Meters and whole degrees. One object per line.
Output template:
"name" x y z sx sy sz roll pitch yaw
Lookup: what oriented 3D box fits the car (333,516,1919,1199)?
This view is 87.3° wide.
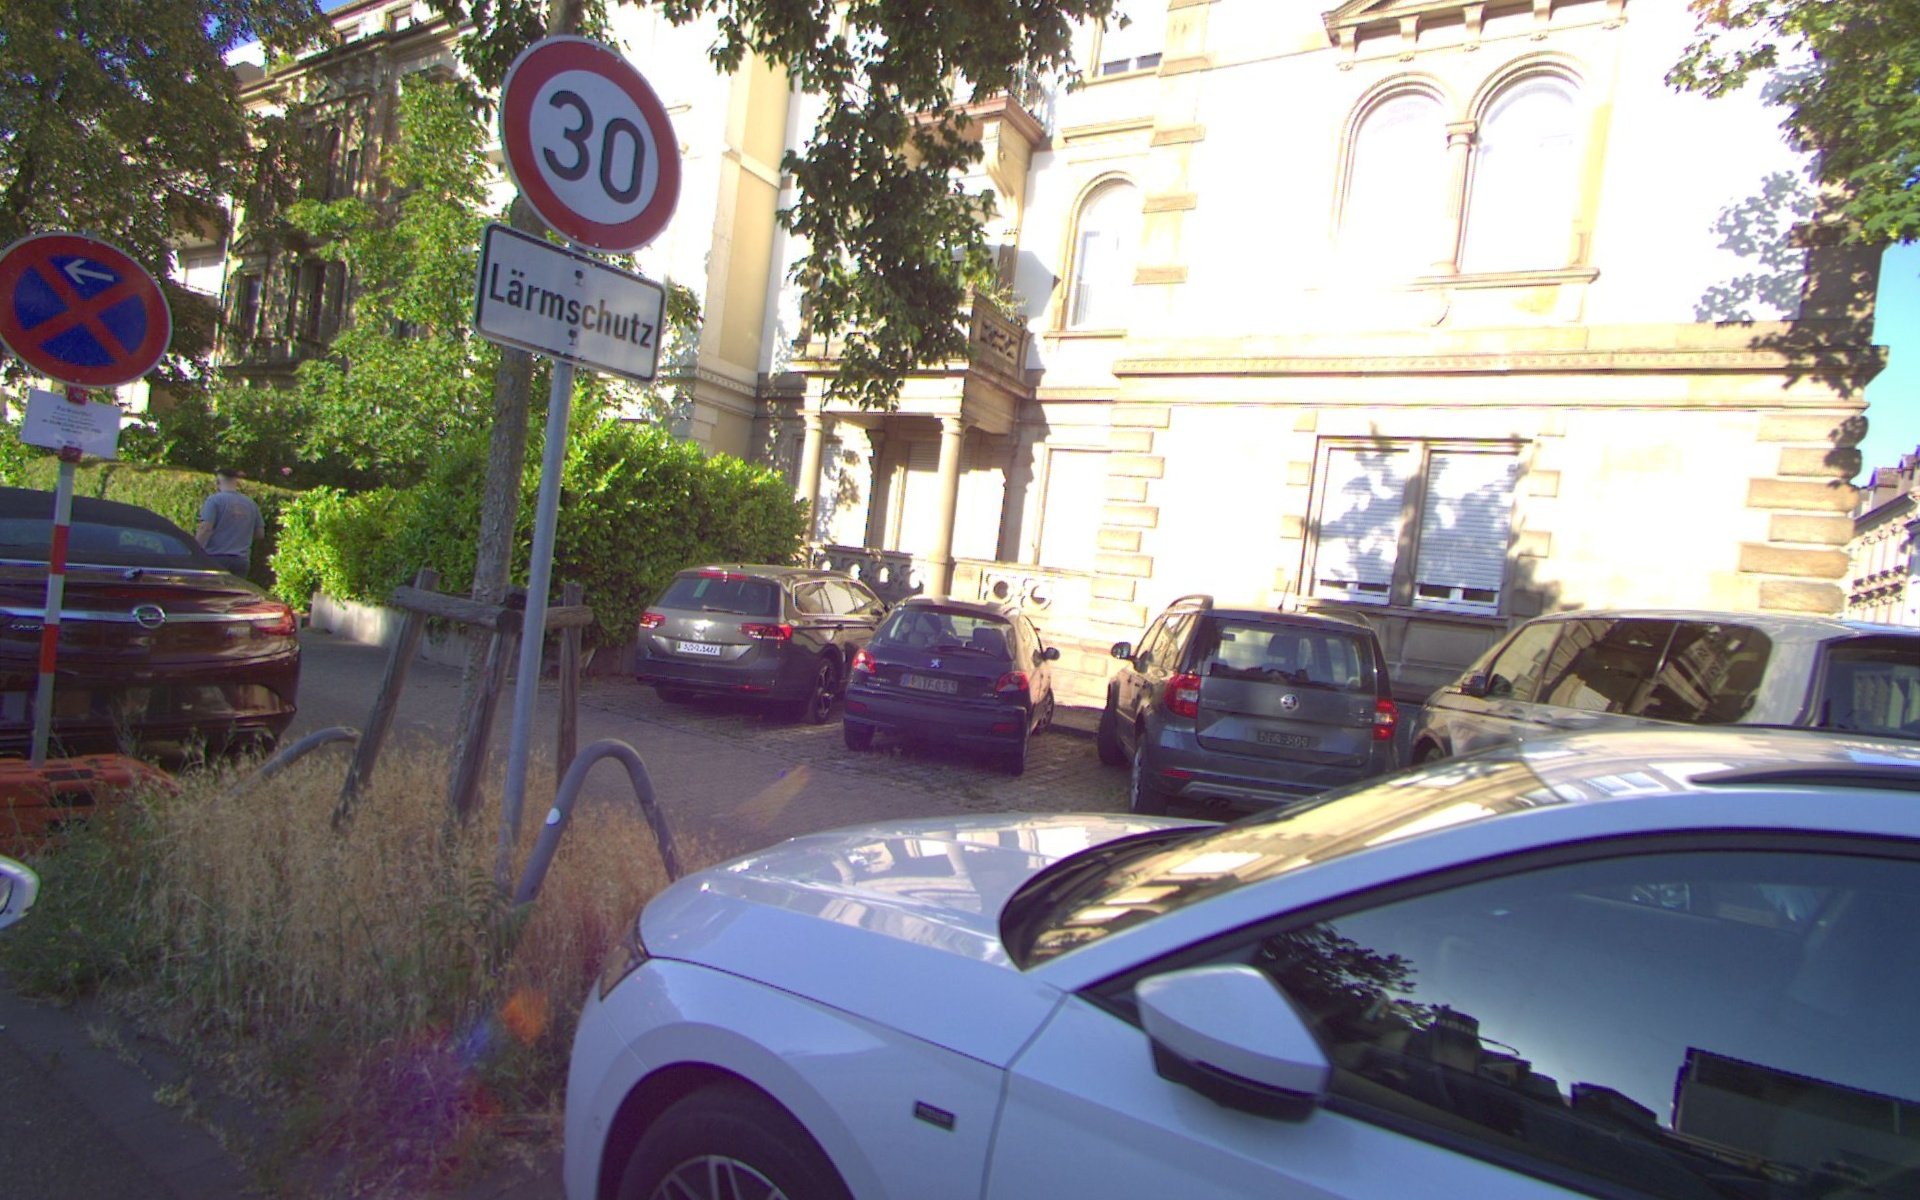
"car" 1.192 0.879 1.590 4.545 1.496 1.823 7 0 32

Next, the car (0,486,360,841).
"car" -5.652 0.081 5.841 4.537 1.439 1.758 7 2 31

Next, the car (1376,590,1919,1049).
"car" 4.760 1.062 6.773 1.884 1.923 4.940 7 0 3

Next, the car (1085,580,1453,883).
"car" 2.202 0.824 8.414 1.754 1.721 4.098 7 1 2

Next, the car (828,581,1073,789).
"car" 0.129 0.657 10.114 1.684 1.460 4.098 7 2 8

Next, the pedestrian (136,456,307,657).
"pedestrian" -7.224 -0.413 9.856 1.070 1.796 0.822 7 1 27

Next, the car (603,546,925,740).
"car" -1.880 0.380 11.146 1.758 1.530 4.250 7 2 13
